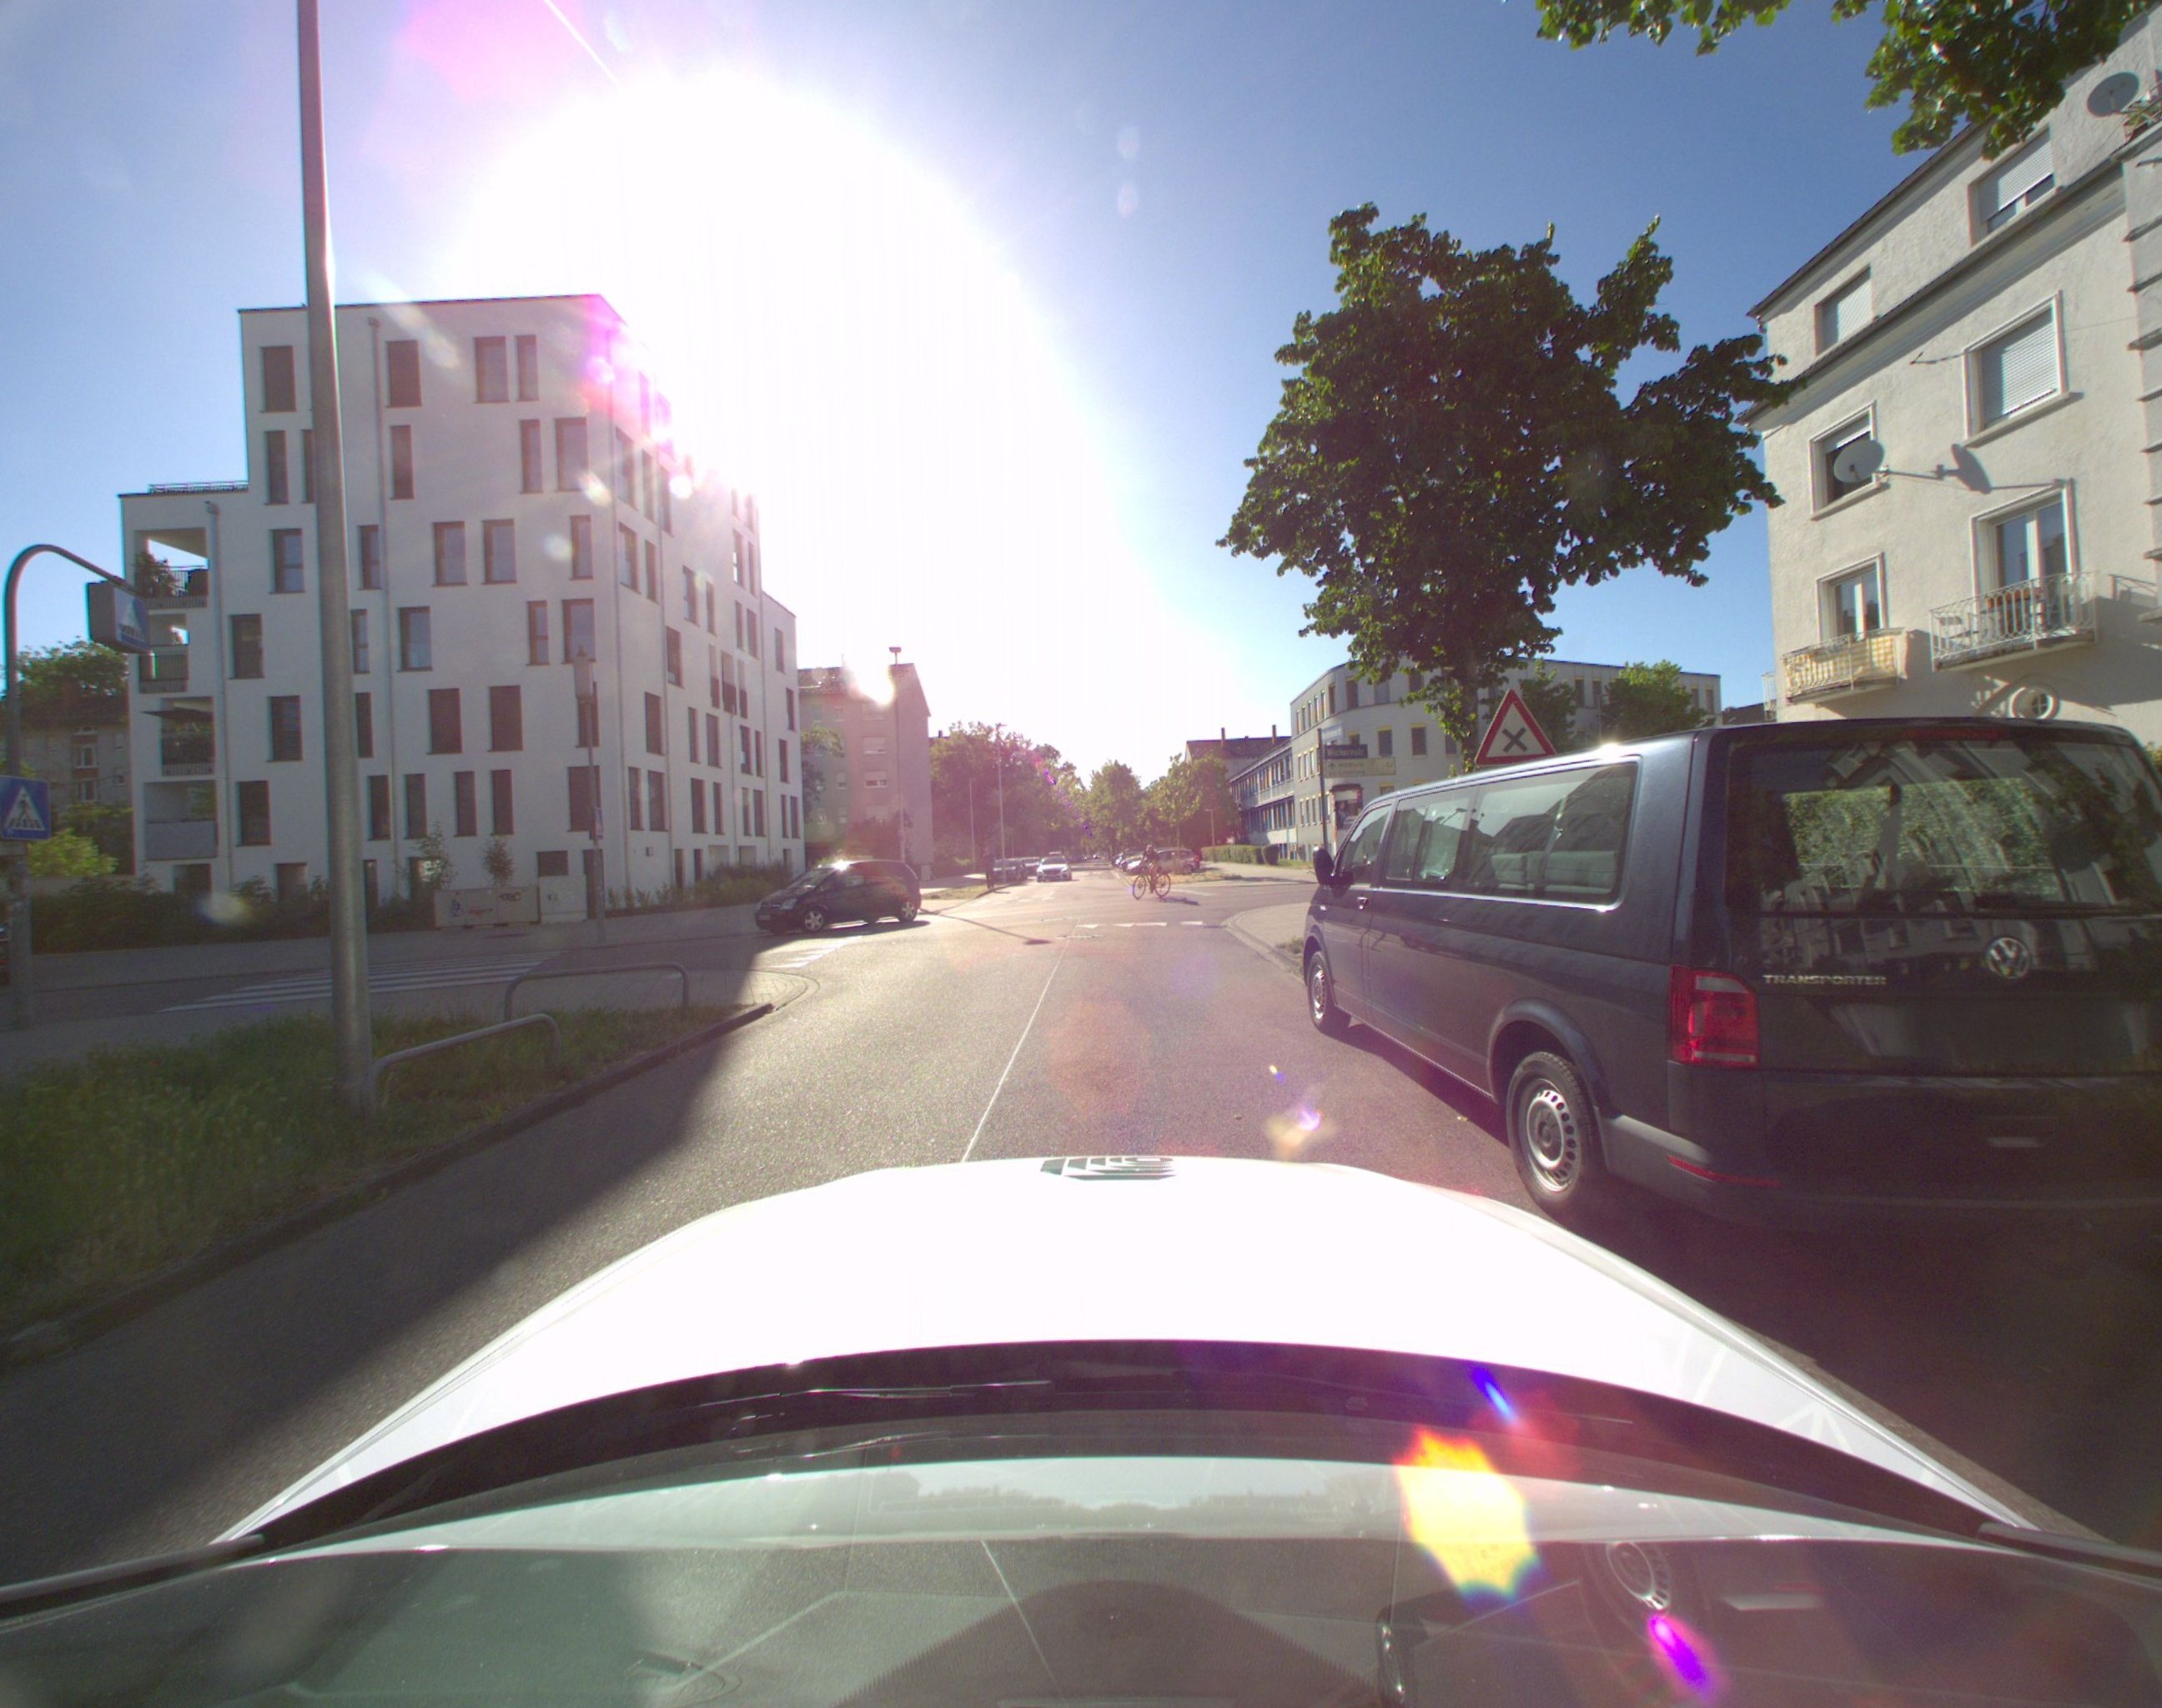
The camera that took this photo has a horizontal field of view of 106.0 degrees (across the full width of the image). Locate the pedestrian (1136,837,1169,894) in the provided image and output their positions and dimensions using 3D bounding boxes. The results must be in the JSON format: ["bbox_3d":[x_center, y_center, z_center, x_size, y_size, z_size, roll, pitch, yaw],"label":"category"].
[{"bbox_3d":[2.128,0.343,24.148,0.684,1.640,1.052,-1,-1,21],"label":"pedestrian"}]

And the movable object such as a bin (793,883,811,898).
[{"bbox_3d":[-10.886,1.418,31.818,0.269,0.541,0.690,-2,-1,22],"label":"movable object such as a bin"}]

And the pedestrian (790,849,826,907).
[{"bbox_3d":[-10.430,0.909,31.122,0.766,2.120,0.964,-1,1,45],"label":"pedestrian"}]

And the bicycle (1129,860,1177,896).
[{"bbox_3d":[2.160,0.693,24.284,0.543,1.012,1.931,-2,-1,33],"label":"bicycle"}]

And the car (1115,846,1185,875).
[{"bbox_3d":[4.398,0.422,52.319,4.266,1.765,1.999,0,-1,-1],"label":"car"}]

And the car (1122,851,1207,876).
[{"bbox_3d":[5.019,0.580,49.109,4.858,1.274,1.727,-3,-1,-3],"label":"car"}]

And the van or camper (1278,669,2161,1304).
[{"bbox_3d":[2.791,0.416,5.095,1.981,1.863,5.389,0,-1,2],"label":"van or camper"}]

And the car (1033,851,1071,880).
[{"bbox_3d":[-1.583,0.631,46.729,1.879,1.504,4.639,-3,0,1],"label":"car"}]

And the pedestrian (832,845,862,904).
[{"bbox_3d":[-7.634,0.661,26.571,0.843,1.885,0.789,0,-1,-9],"label":"pedestrian"}]

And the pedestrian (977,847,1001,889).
[{"bbox_3d":[-3.888,0.597,34.375,0.868,1.714,0.979,-2,0,-2],"label":"pedestrian"}]

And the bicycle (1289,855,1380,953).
[{"bbox_3d":[3.418,0.635,11.160,0.526,1.194,2.029,-2,-1,-2],"label":"bicycle"}]

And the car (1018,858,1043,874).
[{"bbox_3d":[-3.938,0.955,63.981,1.623,1.234,4.194,0,-1,2],"label":"car"}]

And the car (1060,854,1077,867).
[{"bbox_3d":[-1.970,1.050,127.039,1.981,2.014,4.010,0,-1,9],"label":"car"}]

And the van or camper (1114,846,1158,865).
[{"bbox_3d":[5.085,0.174,75.805,3.973,1.772,2.000,0,-1,1],"label":"van or camper"}]

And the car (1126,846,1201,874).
[{"bbox_3d":[4.737,0.355,47.076,4.077,1.492,1.727,-2,-1,-2],"label":"car"}]

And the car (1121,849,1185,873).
[{"bbox_3d":[4.840,0.481,55.133,4.191,1.596,1.999,0,-1,-1],"label":"car"}]

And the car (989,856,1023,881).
[{"bbox_3d":[-4.449,0.862,48.811,1.662,1.420,3.999,0,-1,0],"label":"car"}]

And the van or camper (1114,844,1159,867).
[{"bbox_3d":[4.965,0.135,72.902,3.973,2.014,2.000,0,-1,1],"label":"van or camper"}]

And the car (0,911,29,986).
[{"bbox_3d":[-21.436,1.809,15.256,4.505,1.167,2.013,-1,2,37],"label":"car"}]

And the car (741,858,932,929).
[{"bbox_3d":[-5.737,0.863,19.548,1.720,1.530,4.139,-1,-1,39],"label":"car"}]
